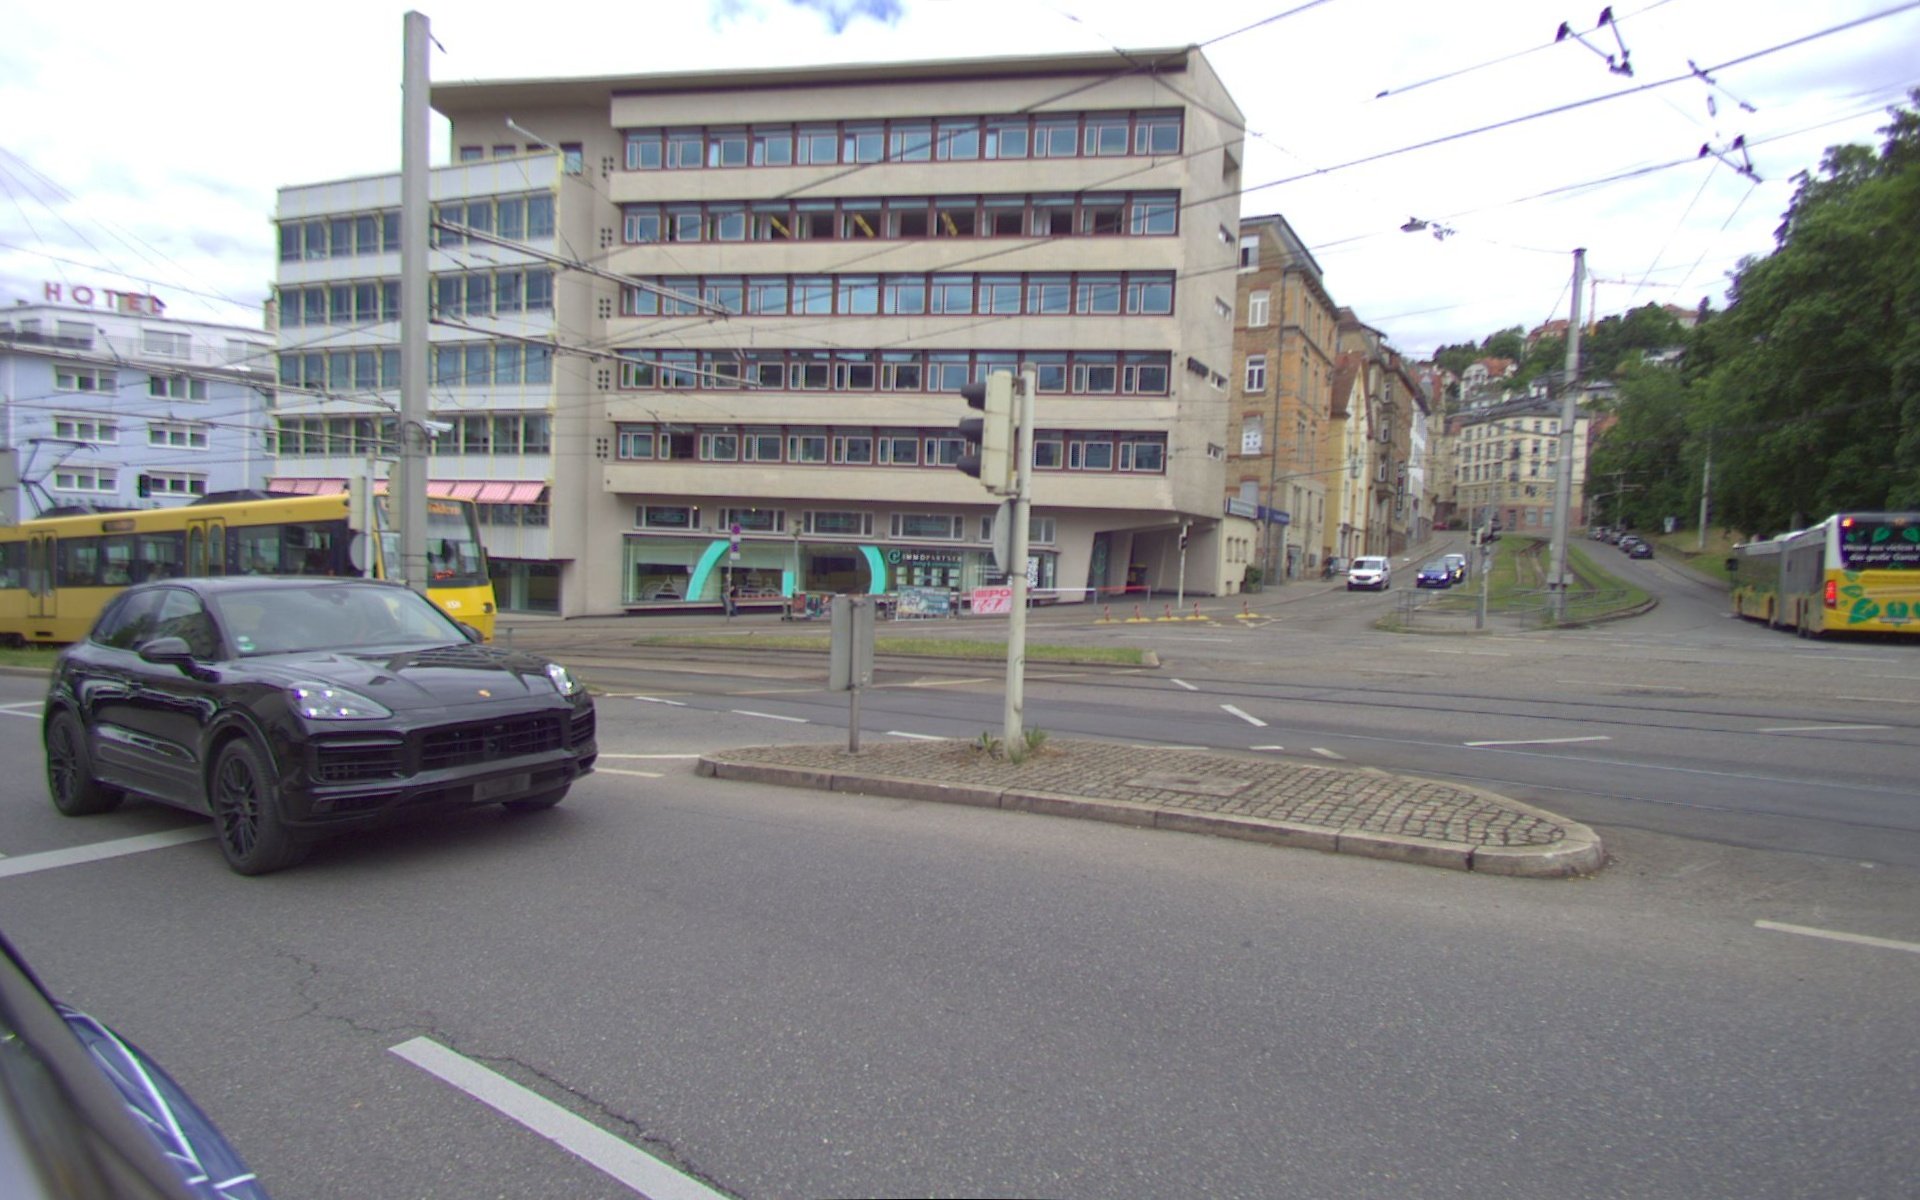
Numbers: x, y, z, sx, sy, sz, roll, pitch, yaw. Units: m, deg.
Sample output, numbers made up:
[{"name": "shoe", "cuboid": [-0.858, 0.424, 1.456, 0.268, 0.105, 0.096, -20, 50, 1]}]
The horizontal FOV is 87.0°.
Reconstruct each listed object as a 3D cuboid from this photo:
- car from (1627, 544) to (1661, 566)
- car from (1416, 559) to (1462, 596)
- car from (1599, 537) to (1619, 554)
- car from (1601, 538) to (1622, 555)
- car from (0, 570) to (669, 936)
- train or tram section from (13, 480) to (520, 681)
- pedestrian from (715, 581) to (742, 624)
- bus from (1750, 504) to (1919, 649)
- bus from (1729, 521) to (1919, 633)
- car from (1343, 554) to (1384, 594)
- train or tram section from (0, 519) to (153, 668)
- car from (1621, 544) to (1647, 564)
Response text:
[{"name": "car", "cuboid": [63.061, -4.147, 93.404, 2.421, 1.851, 3.957, -1, 1, 32]}, {"name": "car", "cuboid": [27.731, -1.304, 58.499, 1.993, 2.029, 3.957, -1, 1, 31]}, {"name": "car", "cuboid": [79.728, -6.657, 124.298, 1.993, 1.851, 3.957, -1, 1, 32]}, {"name": "car", "cuboid": [74.792, -6.115, 116.225, 1.993, 1.851, 3.957, -1, 1, 32]}, {"name": "car", "cuboid": [-4.444, 0.710, 6.827, 4.762, 1.697, 2.014, 0, 2, 30]}, {"name": "train or tram section", "cuboid": [-16.301, -0.315, 23.096, 14.397, 3.691, 2.866, -1, 0, 26]}, {"name": "pedestrian", "cuboid": [-9.452, 0.095, 41.336, 0.776, 1.721, 0.757, -1, 1, 14]}, {"name": "bus", "cuboid": [23.273, -0.586, 26.312, 3.381, 3.052, 11.416, -1, 0, 34]}, {"name": "bus", "cuboid": [27.827, -0.699, 33.184, 3.315, 3.066, 11.234, -1, 0, 33]}, {"name": "car", "cuboid": [22.286, -1.467, 55.967, 1.986, 2.028, 3.972, -1, 3, 22]}, {"name": "train or tram section", "cuboid": [-29.271, -0.116, 28.984, 14.127, 3.691, 2.871, -1, 1, 21]}, {"name": "car", "cuboid": [67.961, -4.650, 102.047, 1.993, 1.851, 3.957, -1, 1, 32]}]
